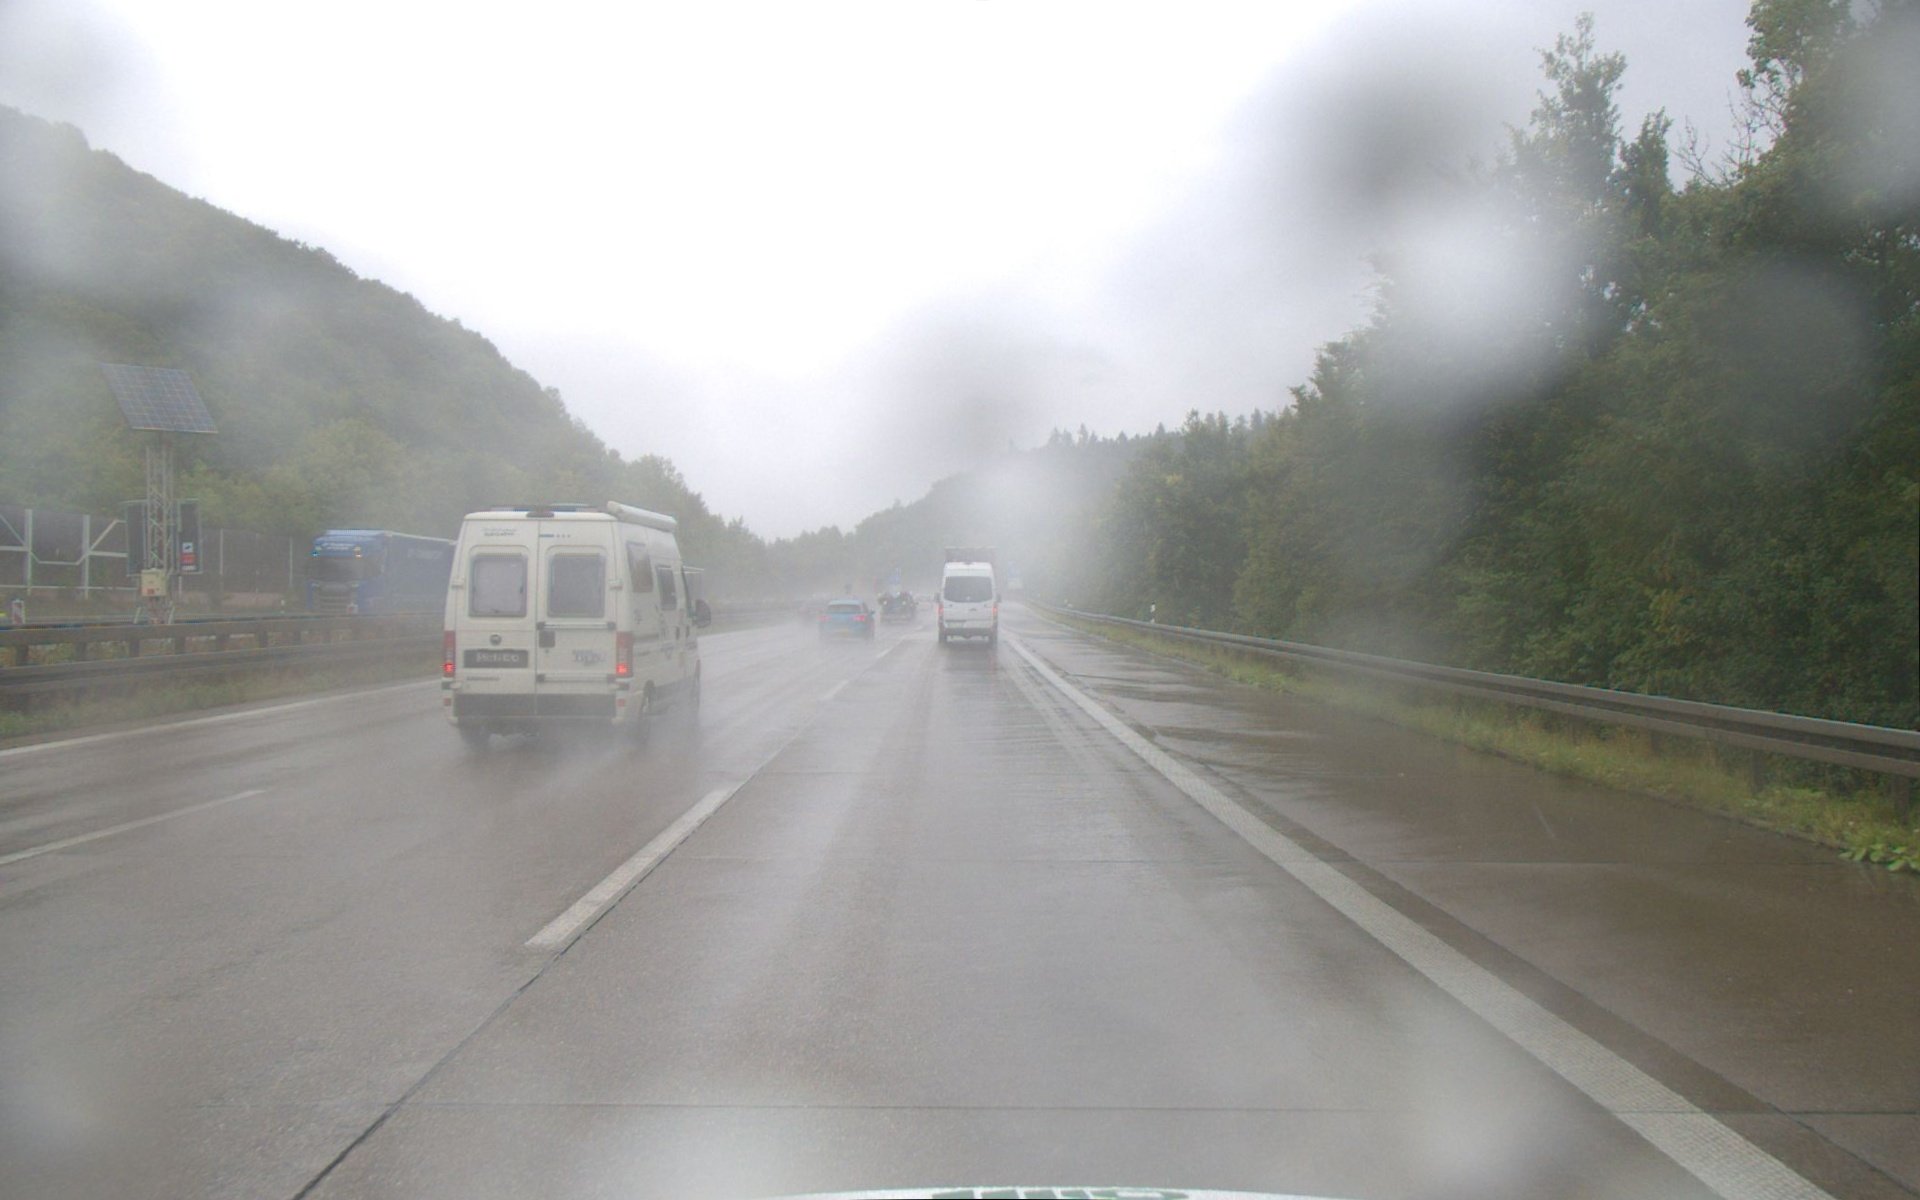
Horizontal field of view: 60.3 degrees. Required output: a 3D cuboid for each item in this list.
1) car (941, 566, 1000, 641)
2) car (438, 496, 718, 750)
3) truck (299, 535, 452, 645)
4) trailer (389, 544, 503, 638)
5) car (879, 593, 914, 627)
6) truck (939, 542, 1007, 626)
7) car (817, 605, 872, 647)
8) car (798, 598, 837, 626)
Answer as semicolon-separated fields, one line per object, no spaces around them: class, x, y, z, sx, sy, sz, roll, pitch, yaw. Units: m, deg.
car;0.311;0.096;55.378;1.861;2.374;5.249;1;0;-1
car;-4.174;0.218;19.142;1.957;2.474;5.789;1;0;-1
truck;-24.286;-0.407;69.383;2.790;4.227;10.177;1;0;0
trailer;-24.334;-0.433;78.751;2.790;4.227;8.524;1;0;0
car;-3.584;0.542;94.034;1.830;1.841;4.188;1;0;-1
truck;0.638;-0.940;86.480;3.316;4.037;8.667;-1;2;0
car;-3.950;0.867;57.141;1.819;1.362;4.349;1;0;-3
car;-7.263;0.579;84.615;1.819;1.362;4.349;1;0;-3
